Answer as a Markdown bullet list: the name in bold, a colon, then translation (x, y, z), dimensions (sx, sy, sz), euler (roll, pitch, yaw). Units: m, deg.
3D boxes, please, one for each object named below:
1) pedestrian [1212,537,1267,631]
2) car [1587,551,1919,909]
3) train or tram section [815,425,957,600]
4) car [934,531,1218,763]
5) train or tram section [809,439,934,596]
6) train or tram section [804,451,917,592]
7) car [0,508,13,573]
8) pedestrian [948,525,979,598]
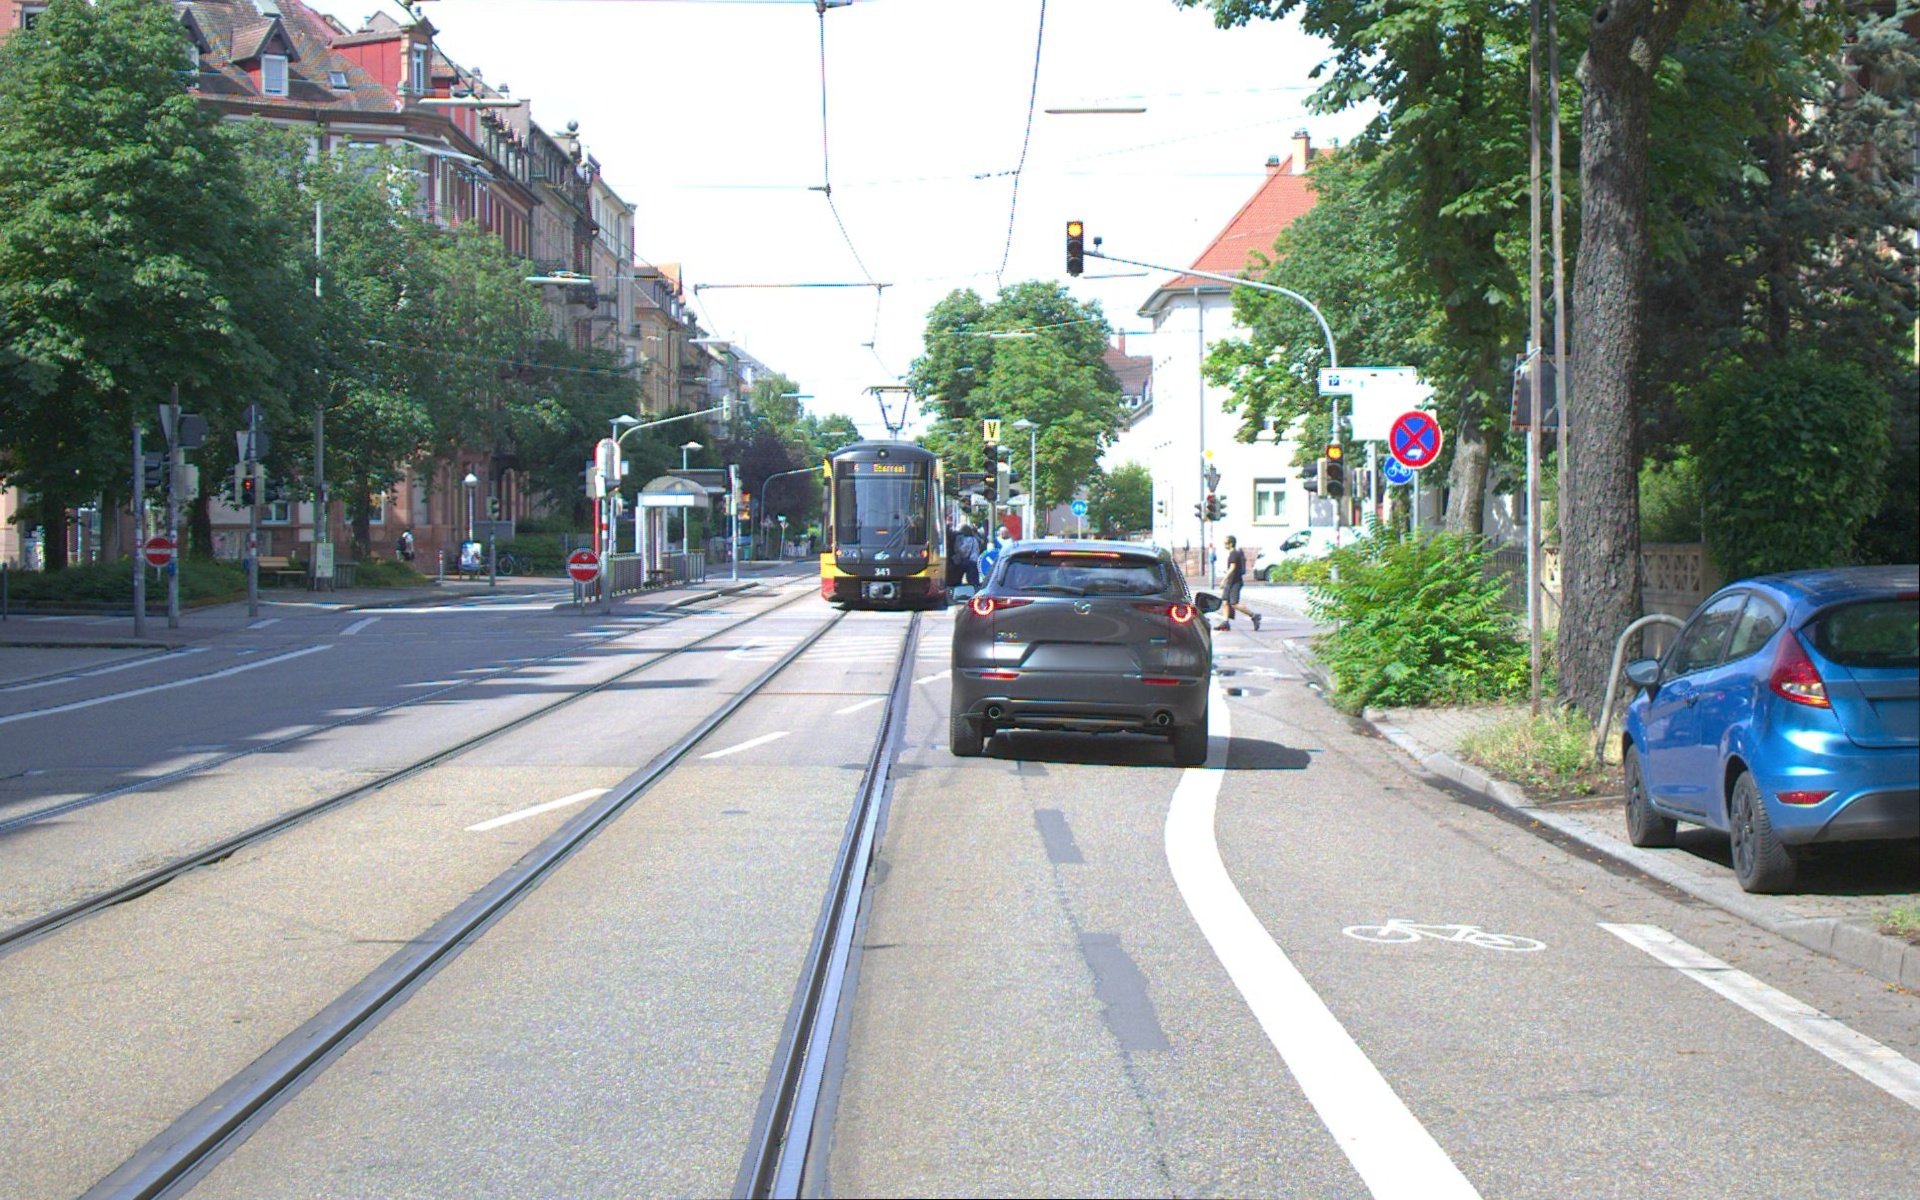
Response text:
- **pedestrian**: translation (4.811, -0.278, 59.301), dimensions (0.874, 1.599, 0.632), euler (0, 1, -2)
- **car**: translation (4.296, 0.540, 16.954), dimensions (1.624, 1.491, 3.848), euler (-2, 1, 0)
- **train or tram section**: translation (-1.676, -1.821, 73.903), dimensions (2.651, 3.515, 8.498), euler (-1, 1, -3)
- **car**: translation (0.754, 0.269, 25.061), dimensions (1.789, 1.507, 4.351), euler (1, 1, -2)
- **train or tram section**: translation (-2.192, -1.924, 82.402), dimensions (2.651, 3.515, 8.498), euler (-1, 1, -3)
- **train or tram section**: translation (-2.708, -2.030, 90.895), dimensions (2.651, 3.515, 8.498), euler (-1, 1, -3)
- **car**: translation (-31.755, -1.727, 106.446), dimensions (4.121, 2.007, 1.999), euler (-3, 1, 10)
- **pedestrian**: translation (0.073, -0.861, 76.178), dimensions (0.667, 1.599, 0.700), euler (0, 1, -2)
